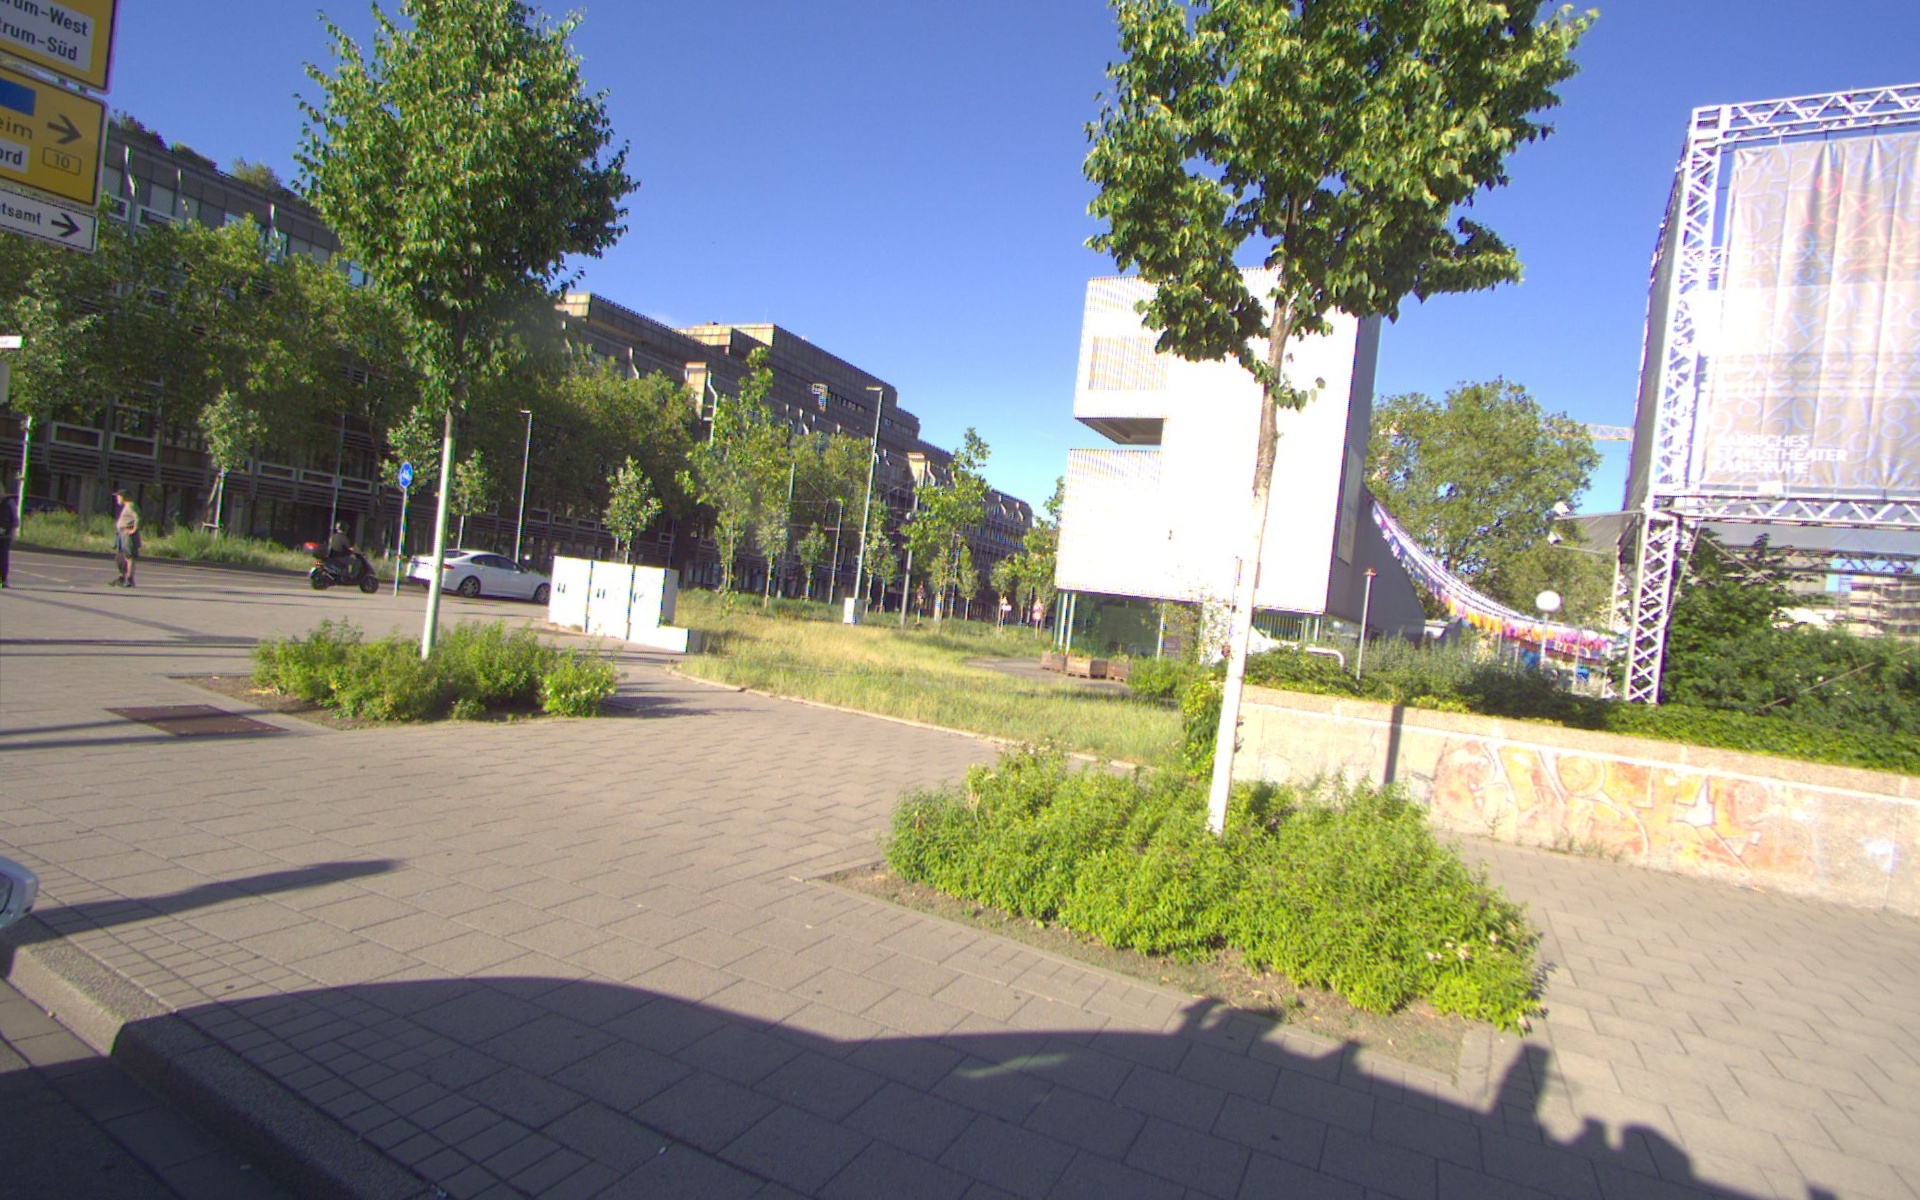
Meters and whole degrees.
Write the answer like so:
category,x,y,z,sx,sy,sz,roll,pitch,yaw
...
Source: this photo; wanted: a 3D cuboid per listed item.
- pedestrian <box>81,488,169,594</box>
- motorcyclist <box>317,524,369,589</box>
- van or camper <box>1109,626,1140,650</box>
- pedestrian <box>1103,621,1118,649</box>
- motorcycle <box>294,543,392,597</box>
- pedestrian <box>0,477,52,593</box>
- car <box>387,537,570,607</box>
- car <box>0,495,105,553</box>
category,x,y,z,sx,sy,sz,roll,pitch,yaw
pedestrian,-14.899,-1.044,17.964,0.755,1.728,0.873,7,1,30
motorcyclist,-15.202,-1.062,24.789,0.588,1.497,0.751,7,0,24
van or camper,15.841,3.655,96.813,1.969,2.038,4.844,7,-1,19
pedestrian,9.171,2.128,61.256,0.520,1.571,0.638,7,-1,31
motorcycle,-15.211,-0.719,24.854,0.637,1.114,1.960,7,0,24
pedestrian,-14.275,-0.993,14.988,0.859,1.634,0.767,7,1,30
car,-15.015,-0.814,31.762,1.963,1.583,5.099,7,-1,22
car,-33.264,-2.785,35.471,1.792,1.704,4.302,7,-1,21
